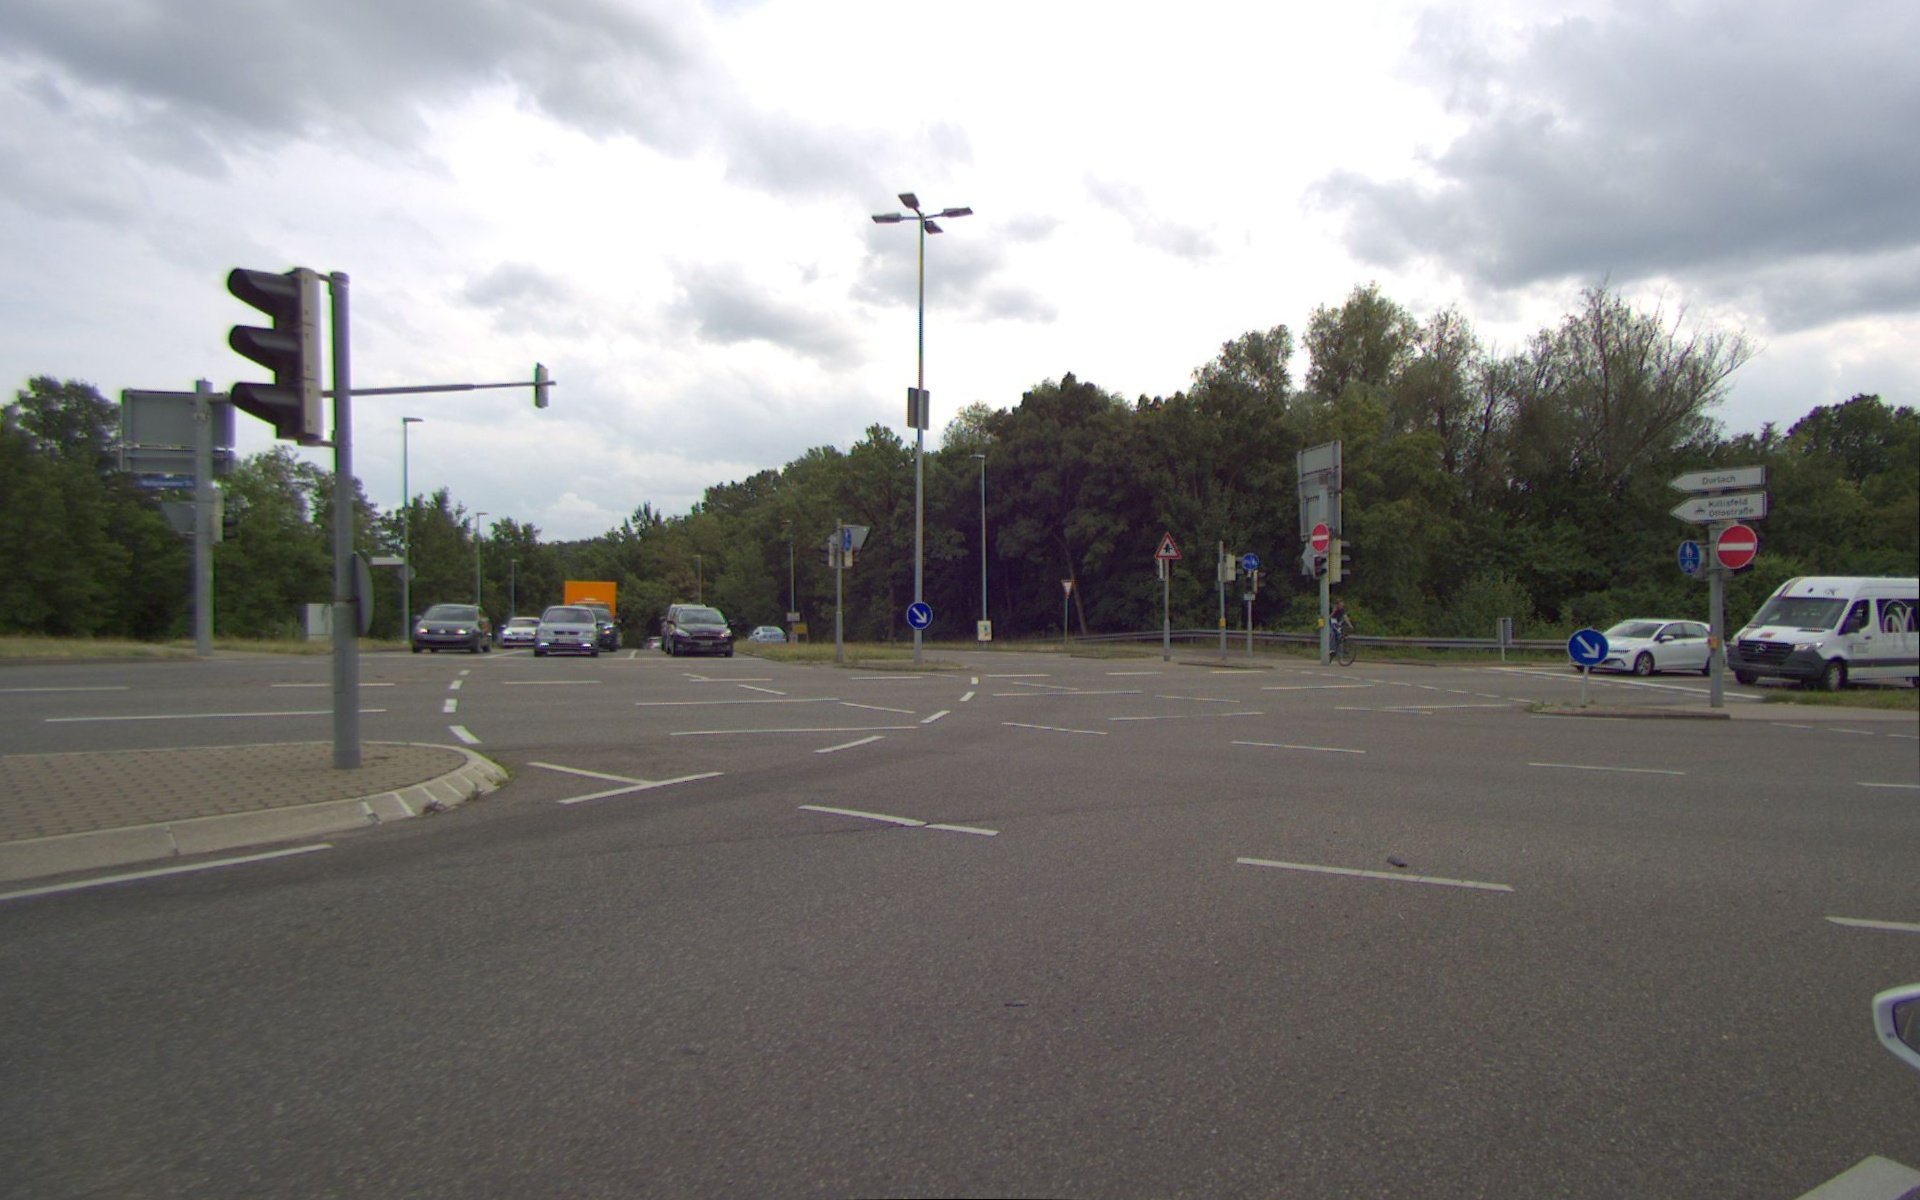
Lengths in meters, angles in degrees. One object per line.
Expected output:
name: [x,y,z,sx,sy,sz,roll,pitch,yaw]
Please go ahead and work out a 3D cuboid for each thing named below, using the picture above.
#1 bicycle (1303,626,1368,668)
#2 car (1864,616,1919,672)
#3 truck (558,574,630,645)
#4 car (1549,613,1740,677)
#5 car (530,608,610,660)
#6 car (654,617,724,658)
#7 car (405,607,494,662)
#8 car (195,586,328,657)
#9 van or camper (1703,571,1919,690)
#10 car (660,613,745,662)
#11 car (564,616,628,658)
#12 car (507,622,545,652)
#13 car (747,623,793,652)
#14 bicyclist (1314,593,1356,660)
bicycle: [10.070,1.259,26.996,0.696,1.066,1.940,1,-3,-12]
car: [29.980,1.337,30.518,3.935,1.636,1.993,1,0,-17]
truck: [-18.434,0.443,50.231,2.929,3.177,9.224,1,0,-23]
car: [18.144,1.177,26.627,4.471,1.567,1.990,1,0,-21]
car: [-11.009,0.928,28.355,1.971,1.327,3.787,1,0,-22]
car: [-10.103,1.355,37.170,1.971,1.327,4.550,1,-1,-22]
car: [-15.285,0.990,30.289,1.971,1.508,4.355,1,0,-22]
car: [-19.425,0.568,28.140,1.897,1.806,4.240,1,0,-19]
van or camper: [21.217,0.746,24.185,6.396,2.623,2.158,1,0,-20]
car: [-7.870,1.113,30.439,1.971,1.327,4.050,1,0,-22]
car: [-12.841,1.262,35.278,1.971,1.327,4.315,1,0,-22]
car: [-21.336,1.795,49.471,1.620,1.327,3.864,1,0,-23]
car: [-11.411,2.224,60.071,1.867,1.476,3.976,1,1,-24]
bicyclist: [10.089,0.722,27.024,0.786,1.757,0.744,1,-2,-12]
